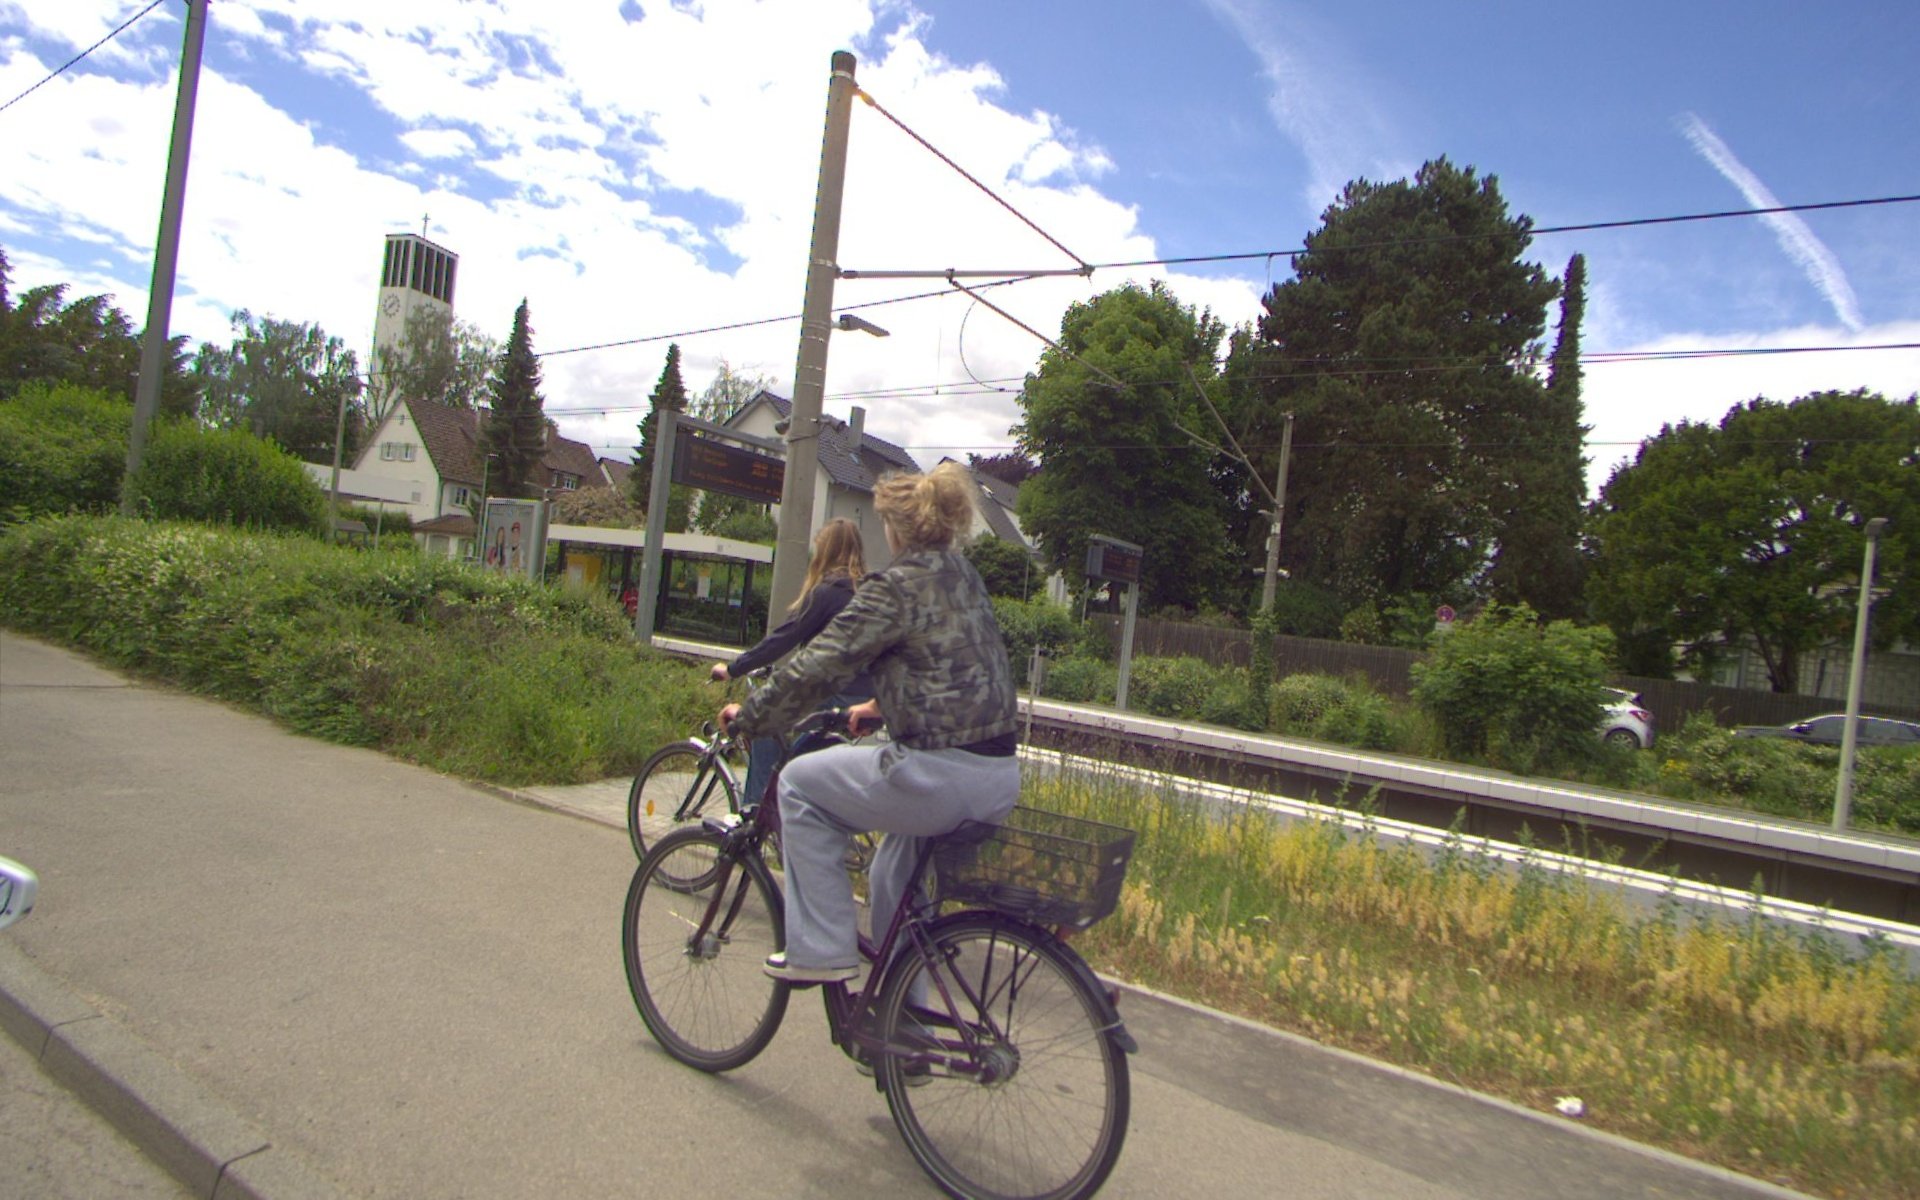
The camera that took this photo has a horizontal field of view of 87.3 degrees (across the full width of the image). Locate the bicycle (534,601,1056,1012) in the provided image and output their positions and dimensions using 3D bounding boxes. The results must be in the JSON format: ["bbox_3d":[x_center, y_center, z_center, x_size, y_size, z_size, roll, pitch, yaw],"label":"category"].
[{"bbox_3d":[-0.834,0.782,4.548,2.355,1.261,0.619,7,0,31],"label":"bicycle"}]

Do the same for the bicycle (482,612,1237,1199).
[{"bbox_3d":[-0.385,0.794,2.789,2.021,1.261,0.547,7,0,31],"label":"bicycle"}]

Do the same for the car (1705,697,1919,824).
[{"bbox_3d":[17.323,3.181,20.005,3.875,1.935,1.734,5,-3,37],"label":"car"}]

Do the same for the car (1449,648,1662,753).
[{"bbox_3d":[13.565,2.261,23.002,3.876,1.772,1.733,7,-1,38],"label":"car"}]

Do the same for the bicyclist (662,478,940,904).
[{"bbox_3d":[-0.698,0.366,4.479,0.805,1.669,0.640,7,0,31],"label":"bicyclist"}]

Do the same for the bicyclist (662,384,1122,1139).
[{"bbox_3d":[-0.152,0.340,2.657,0.745,1.631,0.719,7,0,31],"label":"bicyclist"}]
